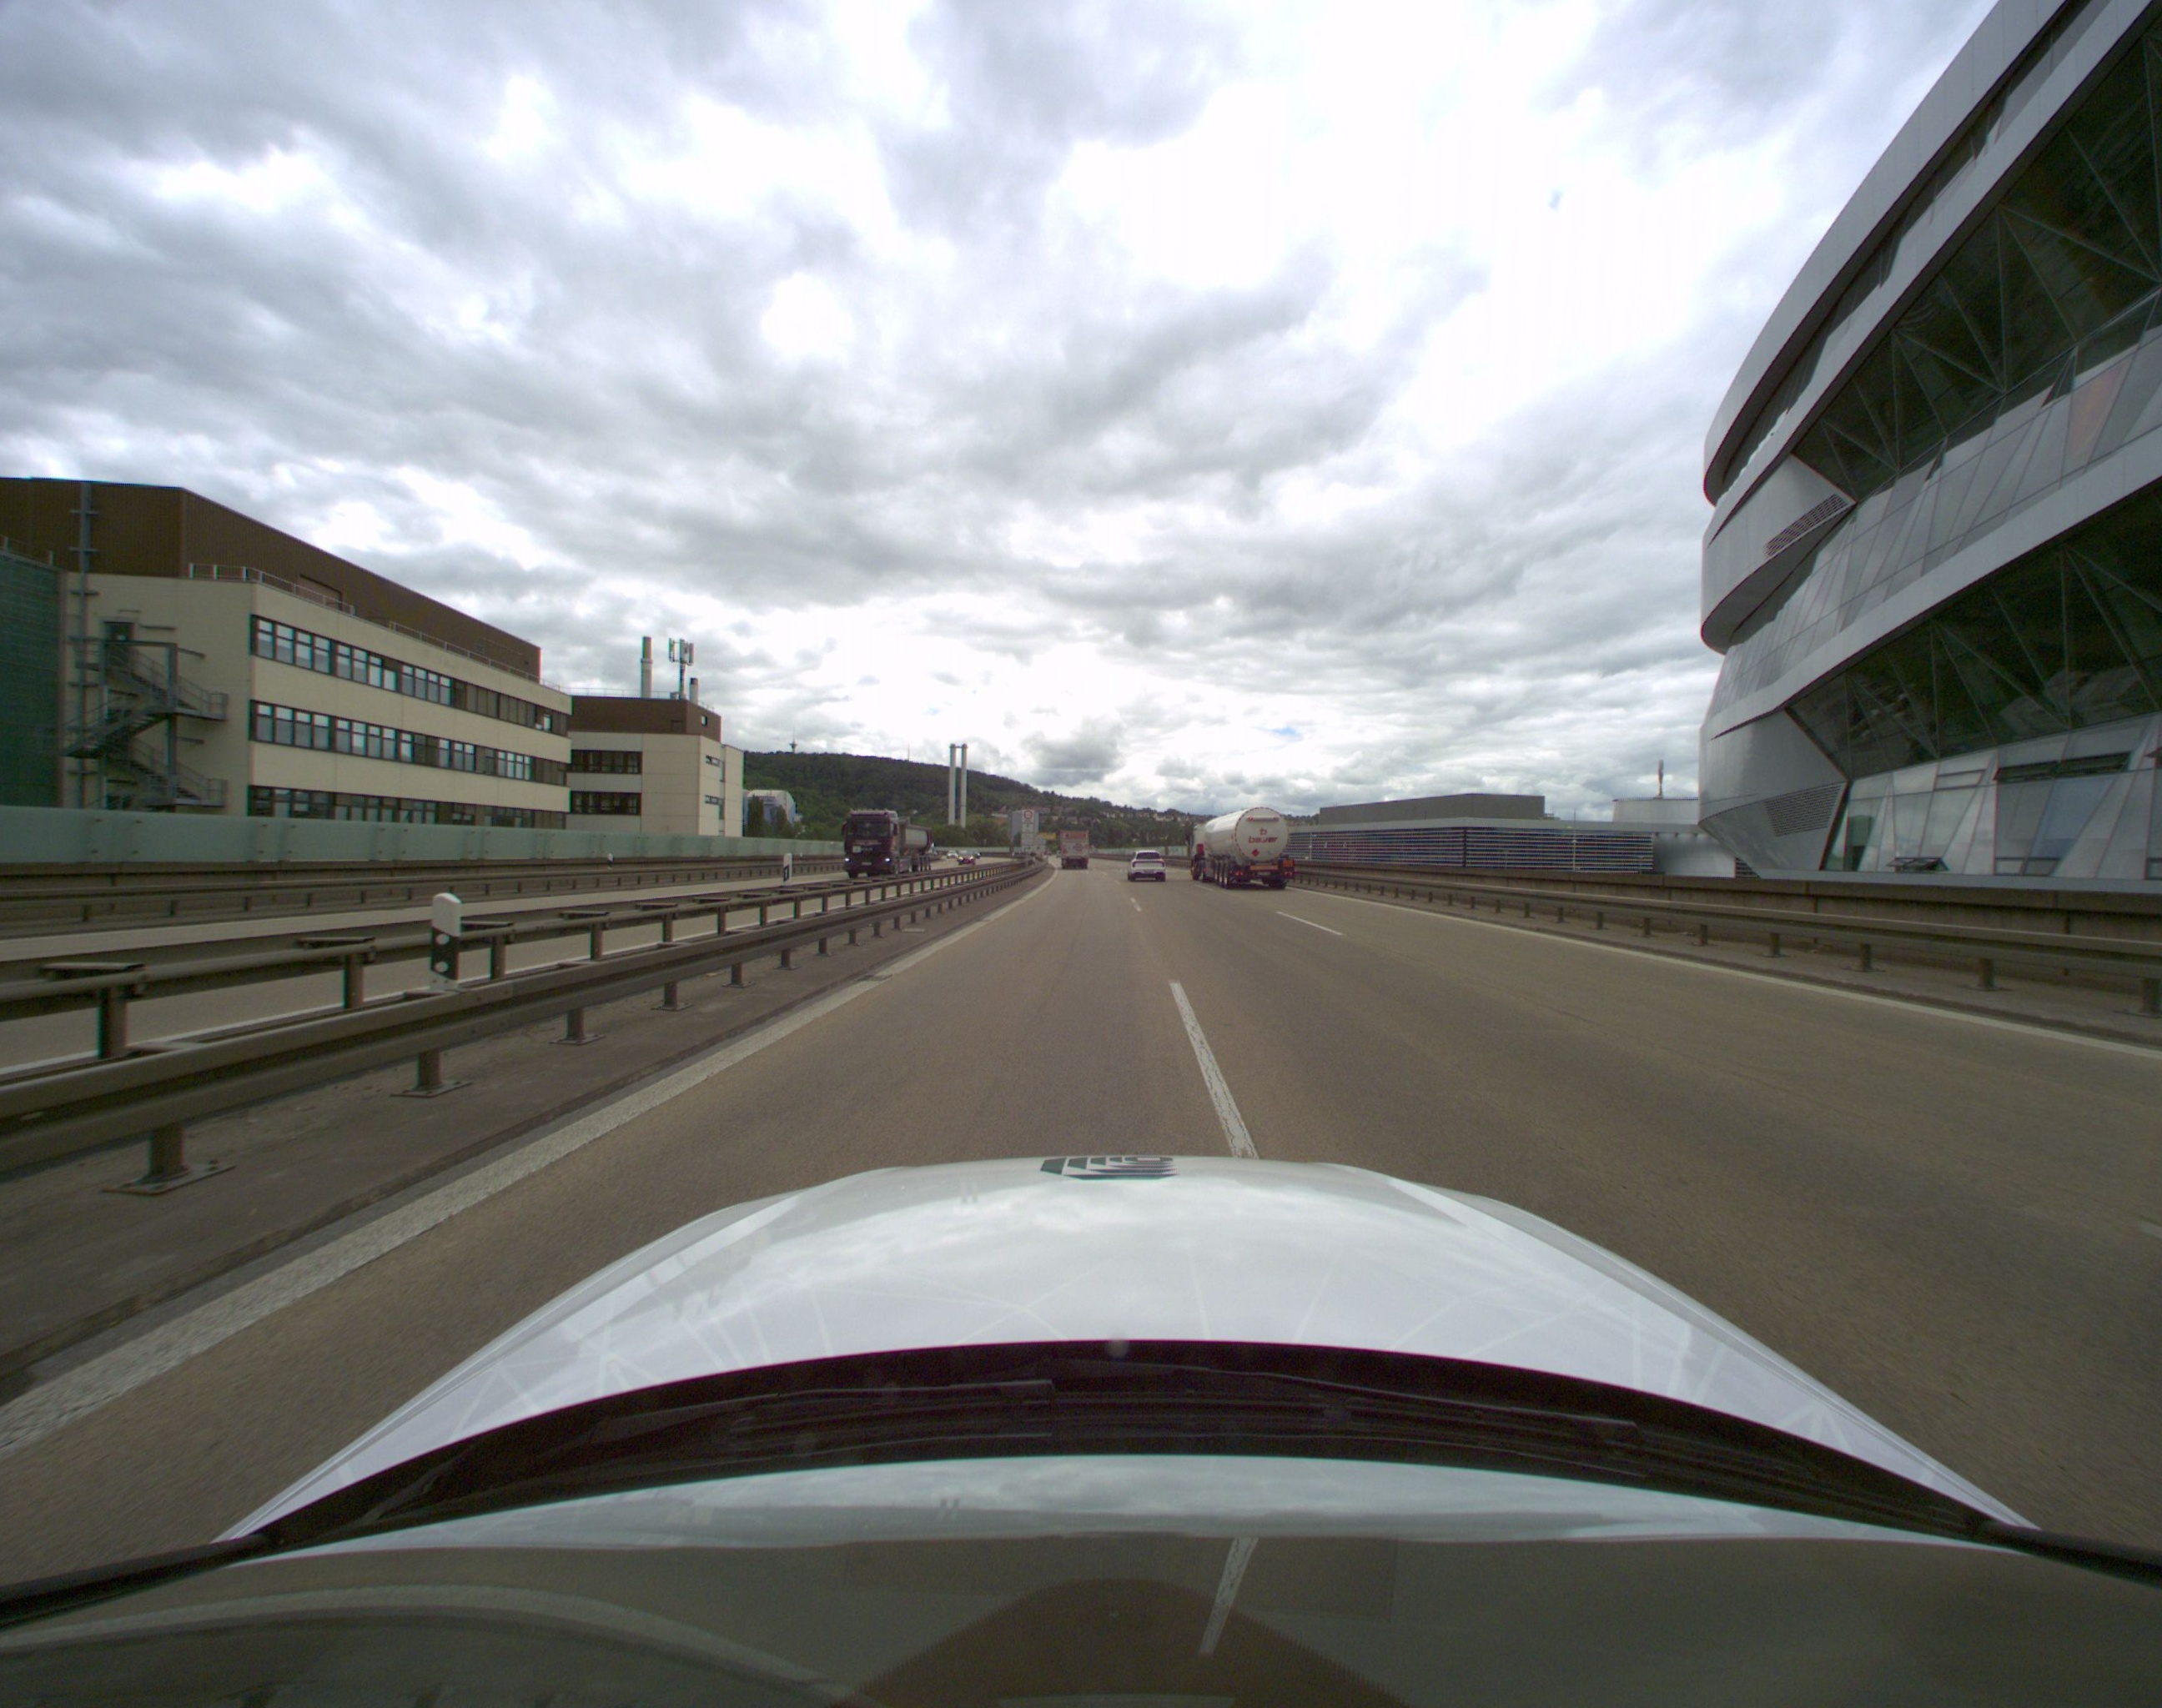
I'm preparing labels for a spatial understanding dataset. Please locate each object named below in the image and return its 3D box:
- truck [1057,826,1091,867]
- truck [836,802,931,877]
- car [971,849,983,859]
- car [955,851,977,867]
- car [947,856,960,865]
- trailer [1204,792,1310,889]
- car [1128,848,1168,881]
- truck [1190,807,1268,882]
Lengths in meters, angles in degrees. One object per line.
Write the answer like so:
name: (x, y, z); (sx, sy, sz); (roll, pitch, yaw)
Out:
truck: (-0.609, -0.661, 78.186); (3.047, 3.691, 8.303); (0, -1, 1)
truck: (-11.211, -0.680, 47.748); (2.802, 3.809, 12.014); (0, -1, -1)
car: (-18.891, 0.001, 148.023); (1.990, 1.675, 4.401); (0, -1, -4)
car: (-12.336, 0.509, 87.676); (1.989, 1.675, 4.402); (0, -1, -4)
car: (-24.193, 1.225, 154.620); (1.990, 1.675, 4.401); (0, -1, -4)
trailer: (7.586, -0.499, 36.293); (3.046, 3.790, 8.304); (0, -1, 1)
car: (3.624, 0.580, 44.588); (1.986, 1.675, 4.410); (0, -1, 2)
truck: (7.638, -0.425, 42.805); (3.004, 3.657, 6.273); (0, -1, 1)
